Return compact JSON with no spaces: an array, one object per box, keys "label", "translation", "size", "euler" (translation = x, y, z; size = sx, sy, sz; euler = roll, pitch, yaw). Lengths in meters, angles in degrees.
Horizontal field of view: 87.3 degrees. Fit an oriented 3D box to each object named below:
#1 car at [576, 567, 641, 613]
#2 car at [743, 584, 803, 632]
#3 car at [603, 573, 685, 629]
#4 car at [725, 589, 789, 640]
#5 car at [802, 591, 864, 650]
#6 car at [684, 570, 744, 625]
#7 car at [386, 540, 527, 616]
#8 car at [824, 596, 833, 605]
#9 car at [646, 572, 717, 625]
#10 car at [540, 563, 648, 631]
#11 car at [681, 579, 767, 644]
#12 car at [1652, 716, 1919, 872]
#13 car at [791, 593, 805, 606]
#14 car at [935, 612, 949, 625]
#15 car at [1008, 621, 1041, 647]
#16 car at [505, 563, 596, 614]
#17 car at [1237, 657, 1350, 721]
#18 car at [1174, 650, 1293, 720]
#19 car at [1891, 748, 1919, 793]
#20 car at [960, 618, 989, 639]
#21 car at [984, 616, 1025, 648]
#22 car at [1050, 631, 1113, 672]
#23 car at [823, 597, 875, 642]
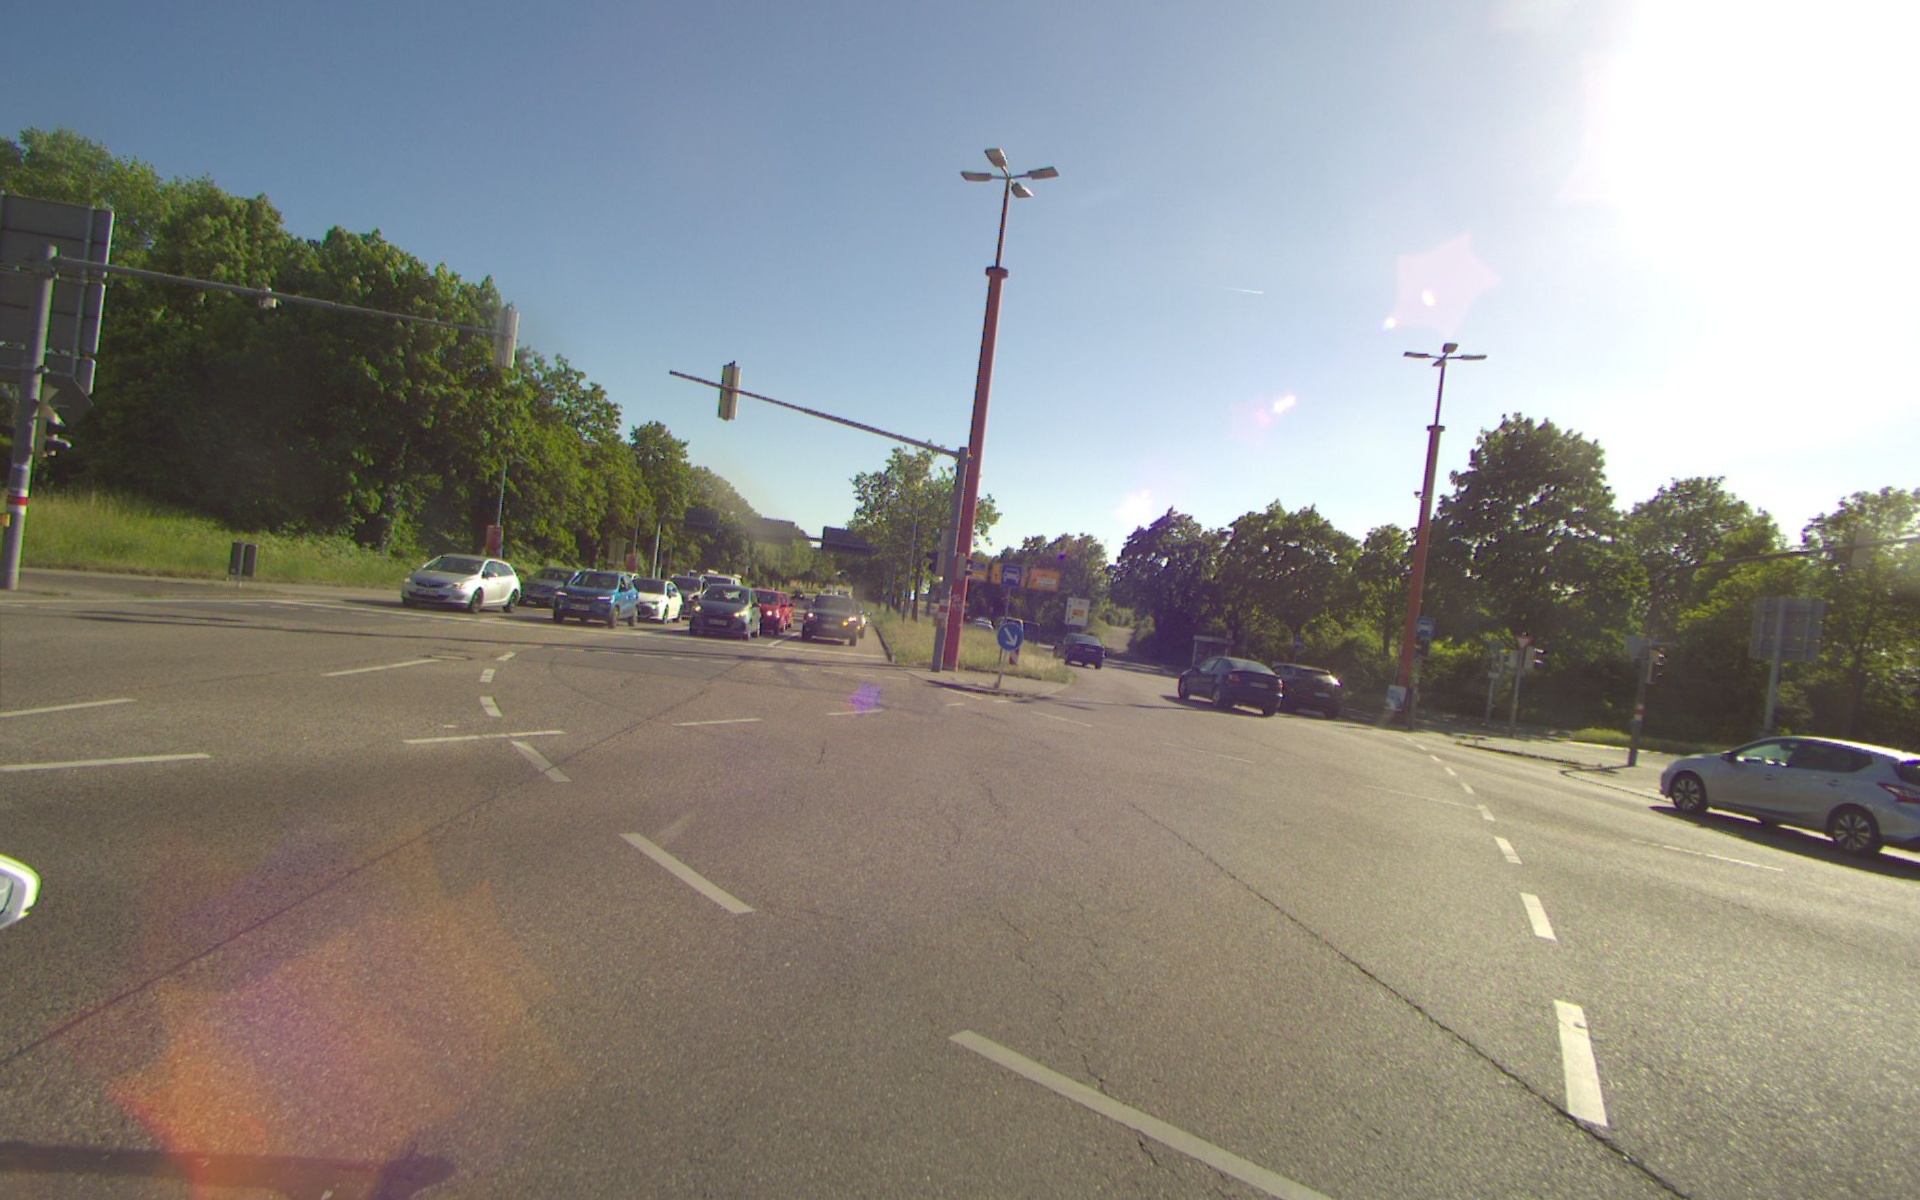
[{"label":"car","translation":[-14.880,-0.382,42.771],"size":[1.753,1.672,3.971],"euler":[5,-2,-8]},{"label":"car","translation":[-7.647,0.331,41.451],"size":[1.874,1.649,3.998],"euler":[8,-1,-5]},{"label":"car","translation":[-10.507,0.044,33.716],"size":[1.874,1.573,3.995],"euler":[7,-1,-8]},{"label":"car","translation":[-7.089,0.486,35.485],"size":[1.848,1.571,3.995],"euler":[5,-1,-8]},{"label":"car","translation":[-4.248,0.642,33.550],"size":[1.768,1.646,4.138],"euler":[6,-1,-8]},{"label":"car","translation":[-11.470,-0.108,47.232],"size":[1.934,2.181,5.076],"euler":[7,-1,-7]},{"label":"car","translation":[-13.311,-0.505,26.903],"size":[1.850,1.671,4.216],"euler":[6,-1,-6]},{"label":"car","translation":[-31.024,0.030,237.433],"size":[1.888,1.903,3.957],"euler":[7,-1,-6]},{"label":"car","translation":[-11.053,-0.049,40.180],"size":[1.847,1.805,3.997],"euler":[7,-1,-5]},{"label":"car","translation":[-9.933,-0.067,27.595],"size":[1.775,1.534,3.855],"euler":[6,-1,-6]},{"label":"car","translation":[-6.739,0.297,29.146],"size":[1.847,1.570,4.022],"euler":[6,0,-7]},{"label":"car","translation":[12.848,2.838,15.012],"size":[1.698,1.535,4.133],"euler":[9,-1,-6]},{"label":"car","translation":[-26.633,-0.111,165.091],"size":[1.888,1.868,3.957],"euler":[7,-1,-6]},{"label":"car","translation":[-3.130,3.267,178.162],"size":[1.905,1.868,3.957],"euler":[7,-1,-6]},{"label":"car","translation":[5.457,2.904,85.932],"size":[1.778,1.874,5.099],"euler":[7,-1,-6]},{"label":"car","translation":[-14.647,-0.368,36.221],"size":[1.858,1.531,3.997],"euler":[6,-1,-6]},{"label":"car","translation":[10.779,2.849,32.819],"size":[1.743,1.525,4.223],"euler":[9,-1,-6]},{"label":"car","translation":[7.561,2.325,28.231],"size":[1.694,1.436,4.046],"euler":[8,-1,-7]},{"label":"car","translation":[37.172,6.645,37.449],"size":[4.079,1.534,1.859],"euler":[9,-1,-18]},{"label":"car","translation":[1.229,2.440,86.820],"size":[1.779,1.510,4.679],"euler":[9,-2,-6]},{"label":"car","translation":[3.042,2.182,69.556],"size":[1.780,1.842,4.582],"euler":[8,-1,-8]},{"label":"car","translation":[5.559,2.352,46.542],"size":[1.689,1.471,4.192],"euler":[7,-1,-8]},{"label":"car","translation":[-4.544,0.766,41.041],"size":[1.858,1.562,3.996],"euler":[6,-1,-7]}]
